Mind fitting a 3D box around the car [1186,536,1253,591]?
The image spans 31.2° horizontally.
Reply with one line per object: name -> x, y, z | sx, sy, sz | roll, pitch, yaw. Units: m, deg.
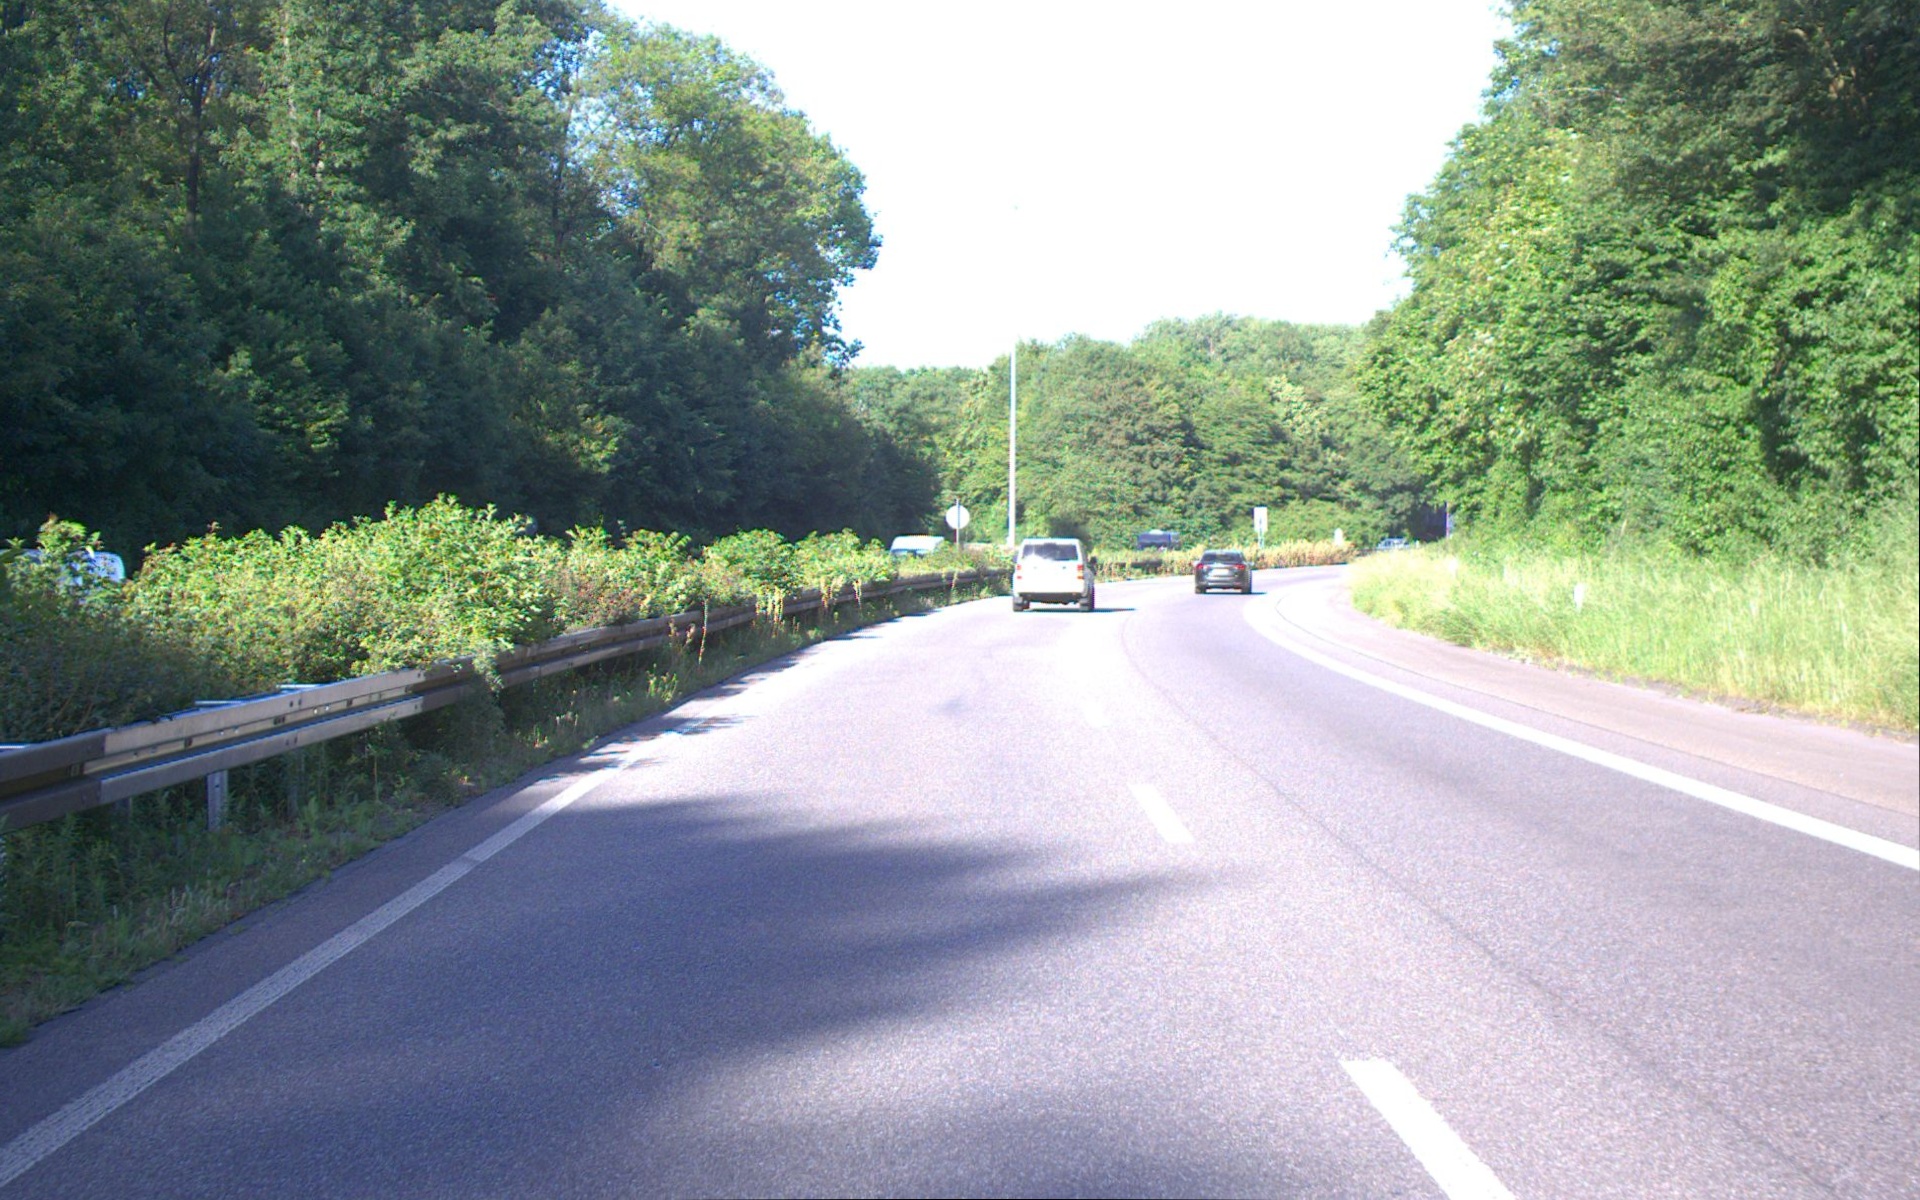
car -> 8.771, -1.229, 116.024 | 1.952, 1.776, 4.586 | 1, 1, 8

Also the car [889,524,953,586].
car -> -1.440, -1.673, 128.818 | 1.915, 2.245, 5.784 | 1, 1, 4

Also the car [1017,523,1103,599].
car -> 2.396, -0.946, 83.627 | 1.951, 1.776, 4.588 | 1, 1, 0

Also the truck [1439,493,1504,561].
truck -> 33.877, -4.785, 227.329 | 3.736, 4.328, 9.300 | 1, 1, 12

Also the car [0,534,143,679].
car -> -12.576, 0.050, 46.569 | 1.993, 1.854, 4.711 | 1, 1, -1
